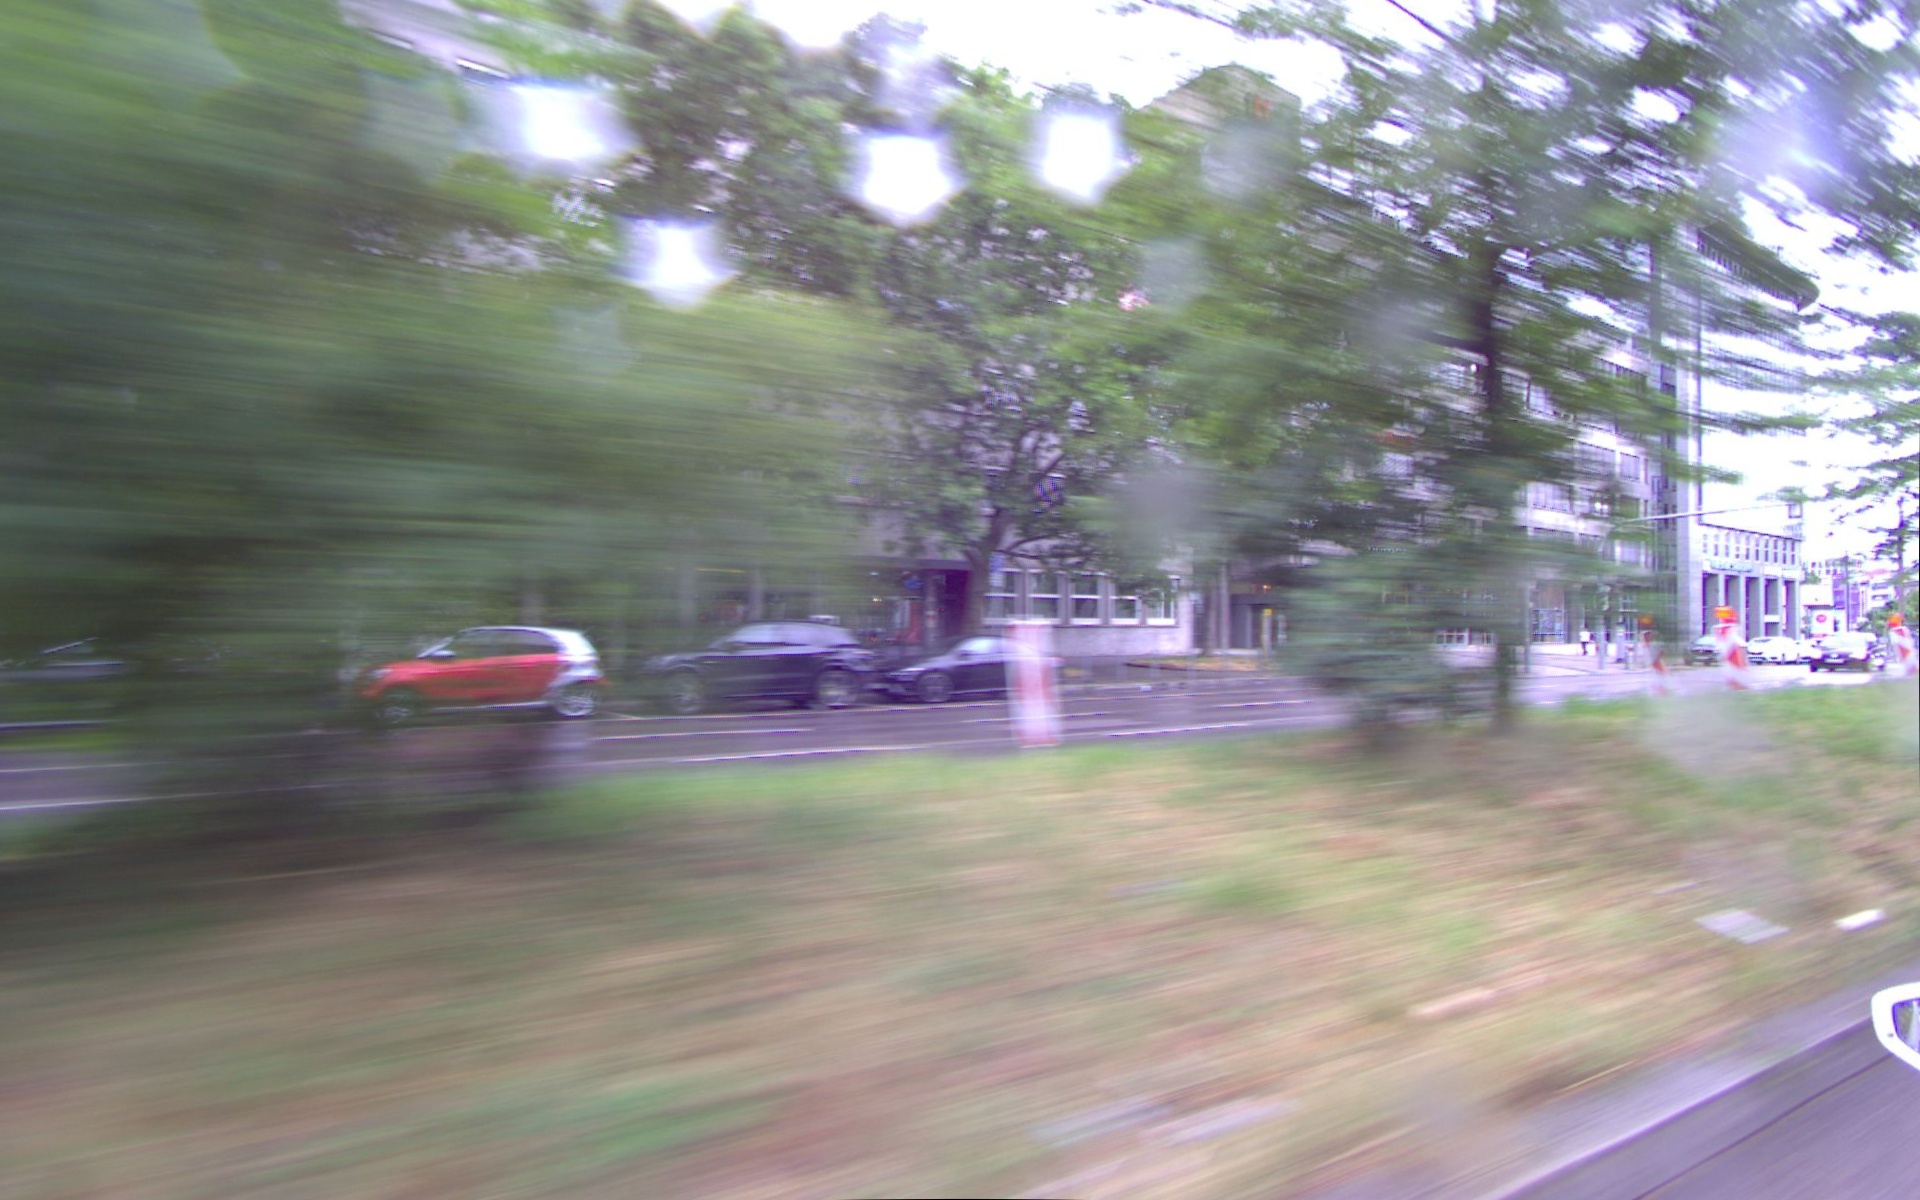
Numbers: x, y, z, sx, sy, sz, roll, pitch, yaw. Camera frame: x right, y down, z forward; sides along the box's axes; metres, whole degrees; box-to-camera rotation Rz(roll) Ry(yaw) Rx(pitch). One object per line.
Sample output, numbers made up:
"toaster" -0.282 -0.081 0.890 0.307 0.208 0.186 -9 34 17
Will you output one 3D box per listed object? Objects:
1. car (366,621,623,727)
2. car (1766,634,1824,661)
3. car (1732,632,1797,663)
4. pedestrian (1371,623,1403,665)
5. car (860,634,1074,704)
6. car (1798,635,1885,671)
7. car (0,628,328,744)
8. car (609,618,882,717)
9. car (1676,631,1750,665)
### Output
"car" -7.528 1.171 16.335 3.588 1.539 1.677 2 -4 -34
"car" 46.930 2.680 56.447 3.559 1.470 1.714 3 -3 -36
"car" 42.512 2.509 53.031 3.964 1.568 1.795 3 -3 -38
"pedestrian" 17.294 1.775 40.718 0.668 1.667 0.990 1 -1 -28
"car" 0.212 1.512 22.412 4.605 1.412 1.758 2 -4 -34
"car" 33.972 2.015 38.684 3.965 1.328 1.792 1 -3 -38
"car" -11.557 1.154 13.981 4.621 1.453 1.759 2 -4 -33
"car" -4.004 1.252 19.124 4.790 1.674 1.759 2 -4 -33
"car" 36.421 2.329 48.548 4.040 1.556 1.861 3 -3 -38
